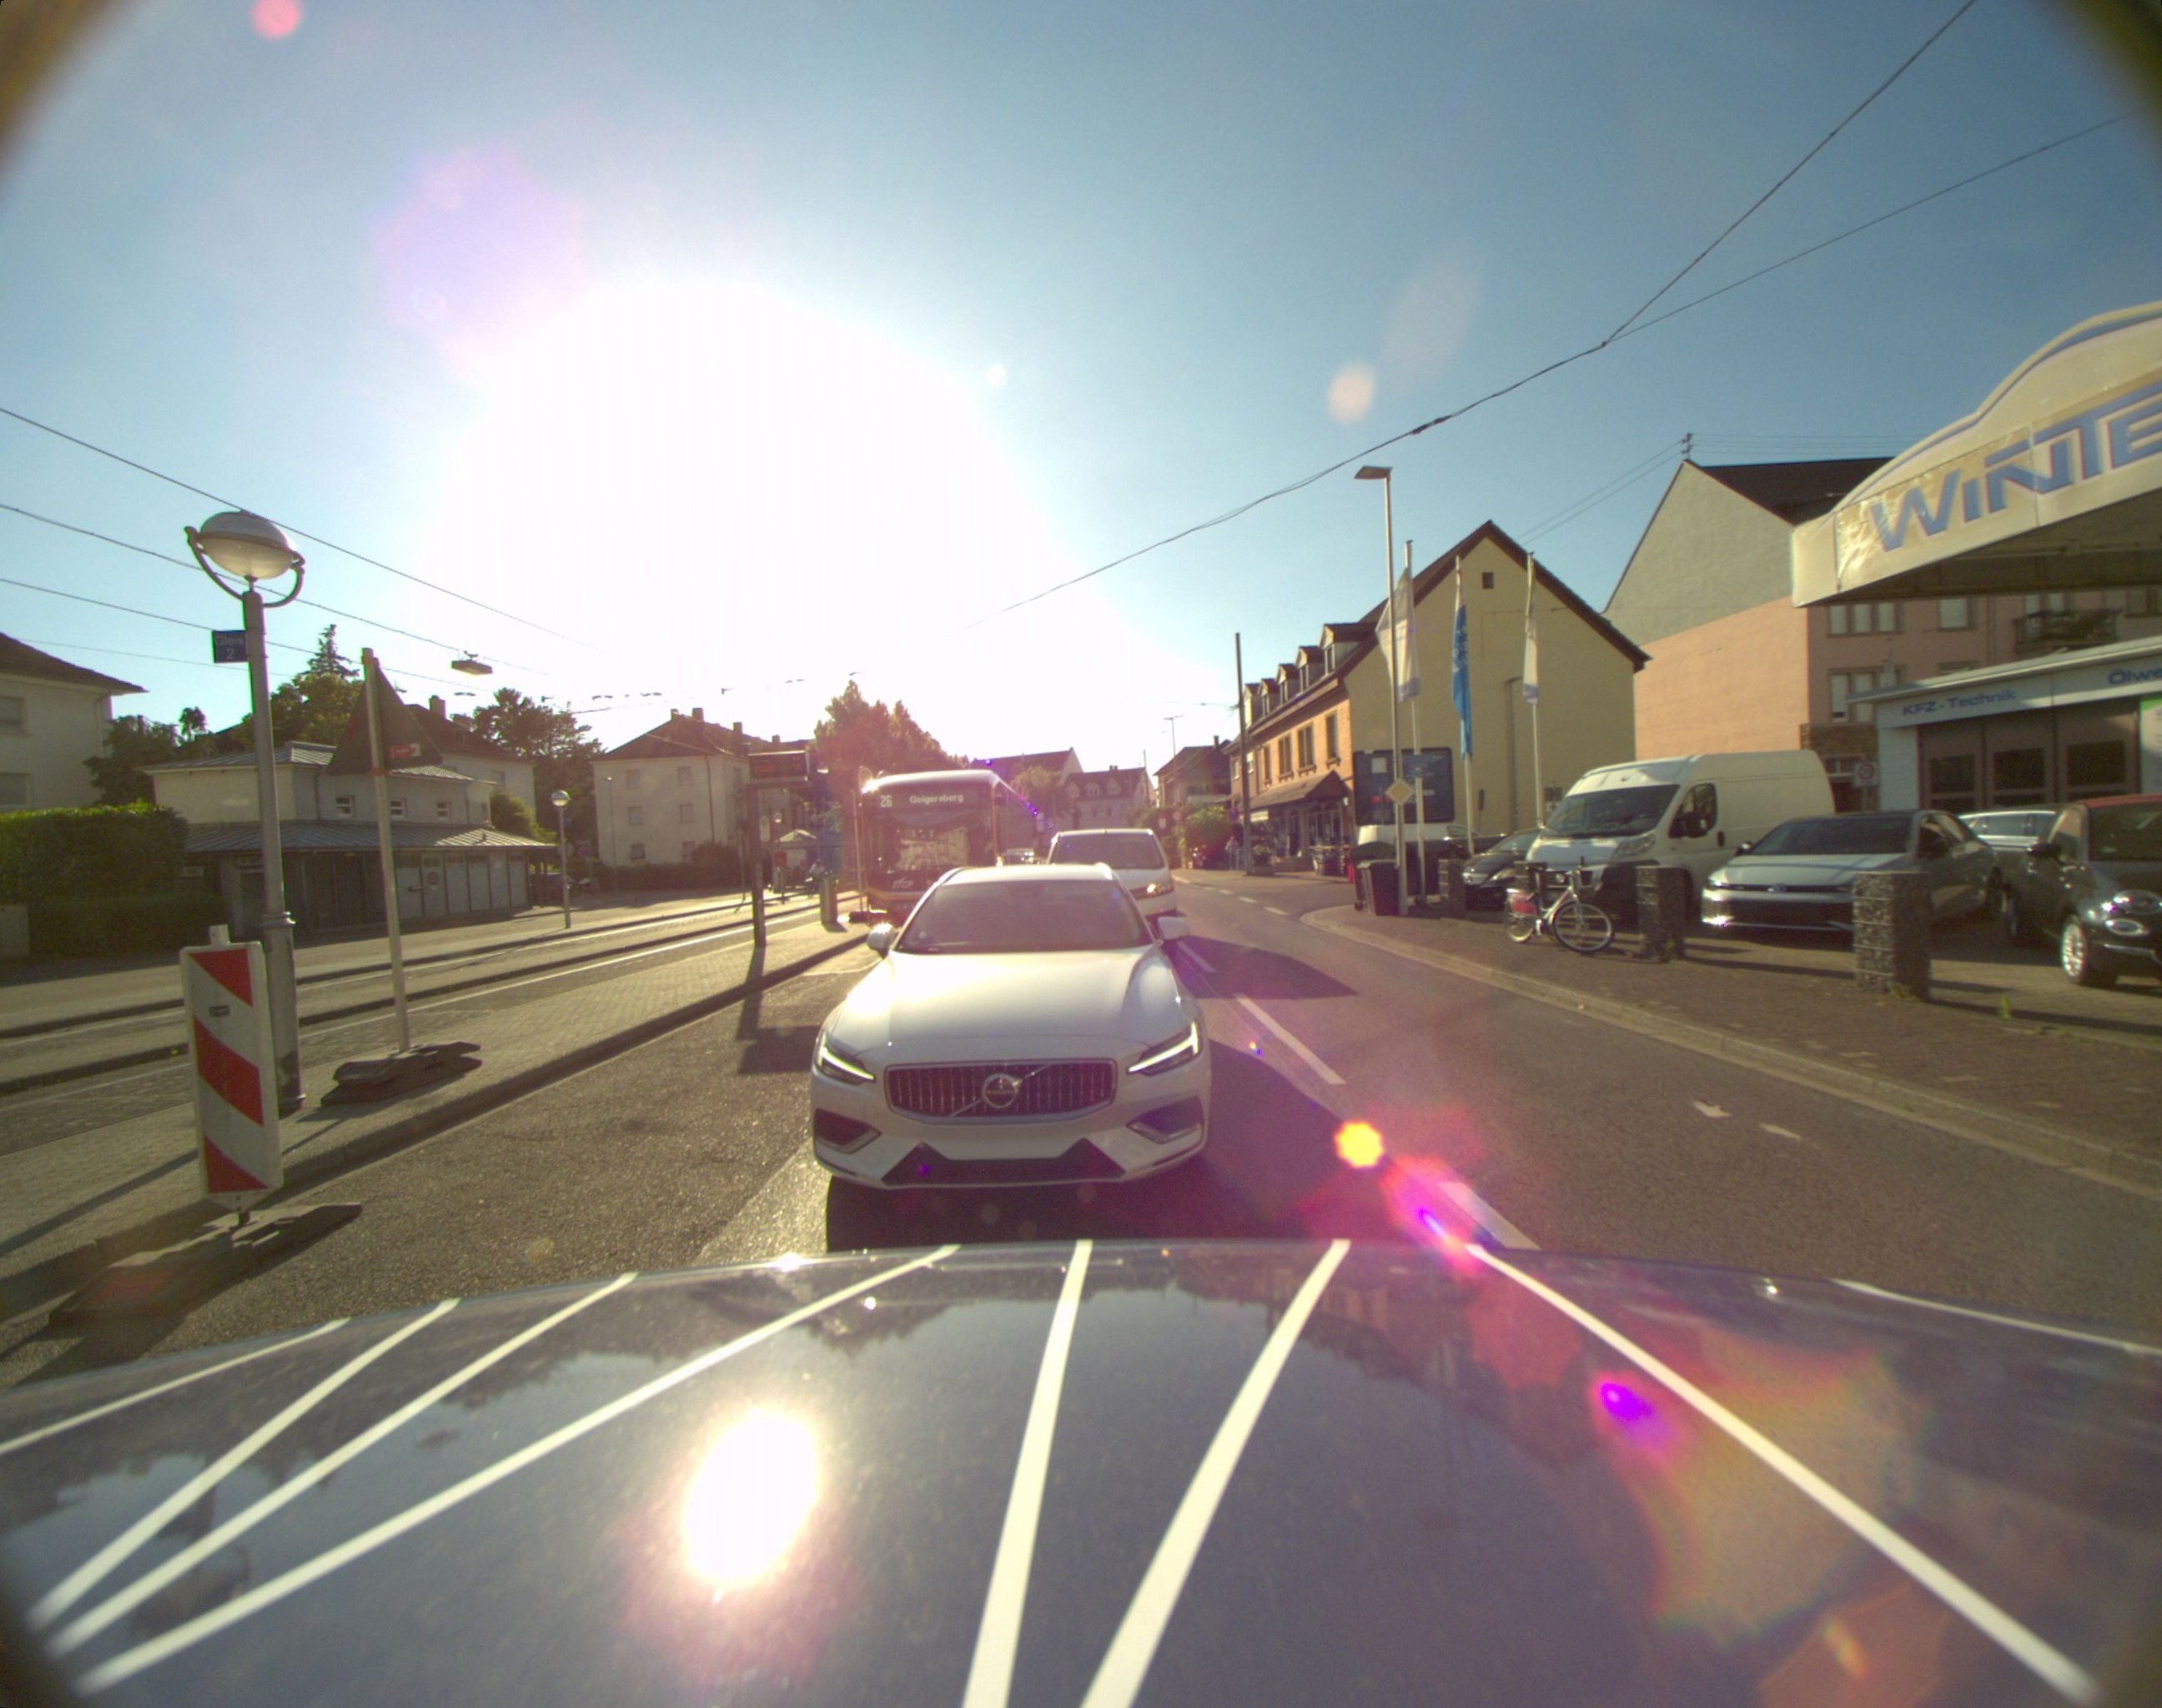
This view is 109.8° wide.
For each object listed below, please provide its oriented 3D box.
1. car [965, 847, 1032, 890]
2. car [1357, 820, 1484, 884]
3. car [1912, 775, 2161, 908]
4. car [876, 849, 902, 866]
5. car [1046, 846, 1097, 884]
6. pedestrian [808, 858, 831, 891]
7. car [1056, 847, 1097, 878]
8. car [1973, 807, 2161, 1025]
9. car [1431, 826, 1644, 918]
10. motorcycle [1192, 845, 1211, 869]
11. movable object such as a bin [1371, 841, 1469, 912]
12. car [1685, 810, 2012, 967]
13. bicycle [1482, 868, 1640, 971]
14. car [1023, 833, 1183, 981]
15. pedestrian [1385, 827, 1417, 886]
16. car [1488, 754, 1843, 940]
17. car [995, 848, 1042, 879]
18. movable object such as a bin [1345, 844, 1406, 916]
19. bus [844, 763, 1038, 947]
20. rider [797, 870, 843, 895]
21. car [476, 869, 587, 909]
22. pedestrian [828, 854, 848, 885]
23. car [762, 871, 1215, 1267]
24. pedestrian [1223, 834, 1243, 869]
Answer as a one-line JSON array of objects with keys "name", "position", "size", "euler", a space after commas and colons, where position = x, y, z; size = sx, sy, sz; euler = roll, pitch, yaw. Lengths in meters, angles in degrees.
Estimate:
[{"name": "car", "position": [-3.131, 0.500, 29.656], "size": [1.969, 1.451, 4.824], "euler": [-2, 1, 1]}, {"name": "car", "position": [11.584, -0.067, 26.065], "size": [3.672, 2.002, 1.451], "euler": [-2, 1, -3]}, {"name": "car", "position": [16.491, -0.239, 12.128], "size": [1.742, 1.933, 4.257], "euler": [-3, 1, 0]}, {"name": "car", "position": [-23.202, 0.377, 91.936], "size": [1.998, 1.853, 3.999], "euler": [-2, 1, 1]}, {"name": "car", "position": [-0.340, 0.403, 32.764], "size": [1.969, 1.451, 4.824], "euler": [-2, 1, 1]}, {"name": "pedestrian", "position": [-11.184, 0.889, 32.525], "size": [0.657, 1.373, 0.581], "euler": [-2, 2, 19]}, {"name": "car", "position": [-0.179, 0.393, 39.916], "size": [1.969, 1.451, 4.824], "euler": [-2, 1, 1]}, {"name": "car", "position": [9.082, 0.375, 6.314], "size": [1.590, 1.488, 3.442], "euler": [-2, 1, 40]}, {"name": "car", "position": [8.979, 0.280, 14.895], "size": [4.036, 1.469, 1.739], "euler": [-3, 1, -28]}, {"name": "motorcycle", "position": [6.380, 0.153, 40.267], "size": [0.708, 1.210, 2.186], "euler": [-2, 1, 3]}, {"name": "movable object such as a bin", "position": [7.606, 0.469, 17.064], "size": [1.798, 1.456, 1.046], "euler": [-3, 2, -25]}, {"name": "car", "position": [9.498, 0.303, 9.359], "size": [4.036, 1.488, 1.739], "euler": [-3, 1, -28]}, {"name": "bicycle", "position": [5.889, 0.753, 9.466], "size": [0.725, 1.080, 1.791], "euler": [-3, 1, -3]}, {"name": "car", "position": [0.313, 0.648, 12.165], "size": [1.969, 1.816, 5.032], "euler": [-2, 1, 1]}, {"name": "pedestrian", "position": [10.354, 0.072, 24.588], "size": [0.766, 1.842, 0.823], "euler": [-2, 2, 12]}, {"name": "car", "position": [9.154, -0.208, 11.905], "size": [4.996, 2.440, 2.111], "euler": [-3, 1, -22]}, {"name": "car", "position": [-3.202, 0.431, 40.044], "size": [1.969, 1.451, 4.824], "euler": [-2, 1, 1]}, {"name": "movable object such as a bin", "position": [6.248, 0.537, 16.101], "size": [1.045, 1.456, 0.797], "euler": [-1, 2, 32]}, {"name": "bus", "position": [-2.904, -0.046, 19.985], "size": [2.748, 3.284, 12.030], "euler": [-2, 1, 0]}, {"name": "rider", "position": [-11.179, 1.216, 32.543], "size": [1.854, 0.986, 0.581], "euler": [-2, 2, 19]}, {"name": "car", "position": [-27.663, 1.757, 38.317], "size": [4.052, 1.663, 2.000], "euler": [-3, 1, 2]}, {"name": "pedestrian", "position": [-13.168, 0.826, 41.124], "size": [0.825, 1.602, 0.842], "euler": [-2, 2, -7]}, {"name": "car", "position": [-0.350, 0.942, 5.249], "size": [1.821, 1.446, 4.217], "euler": [-2, 1, 1]}, {"name": "pedestrian", "position": [7.738, -0.126, 38.716], "size": [0.809, 1.703, 0.859], "euler": [-2, 2, 2]}]
